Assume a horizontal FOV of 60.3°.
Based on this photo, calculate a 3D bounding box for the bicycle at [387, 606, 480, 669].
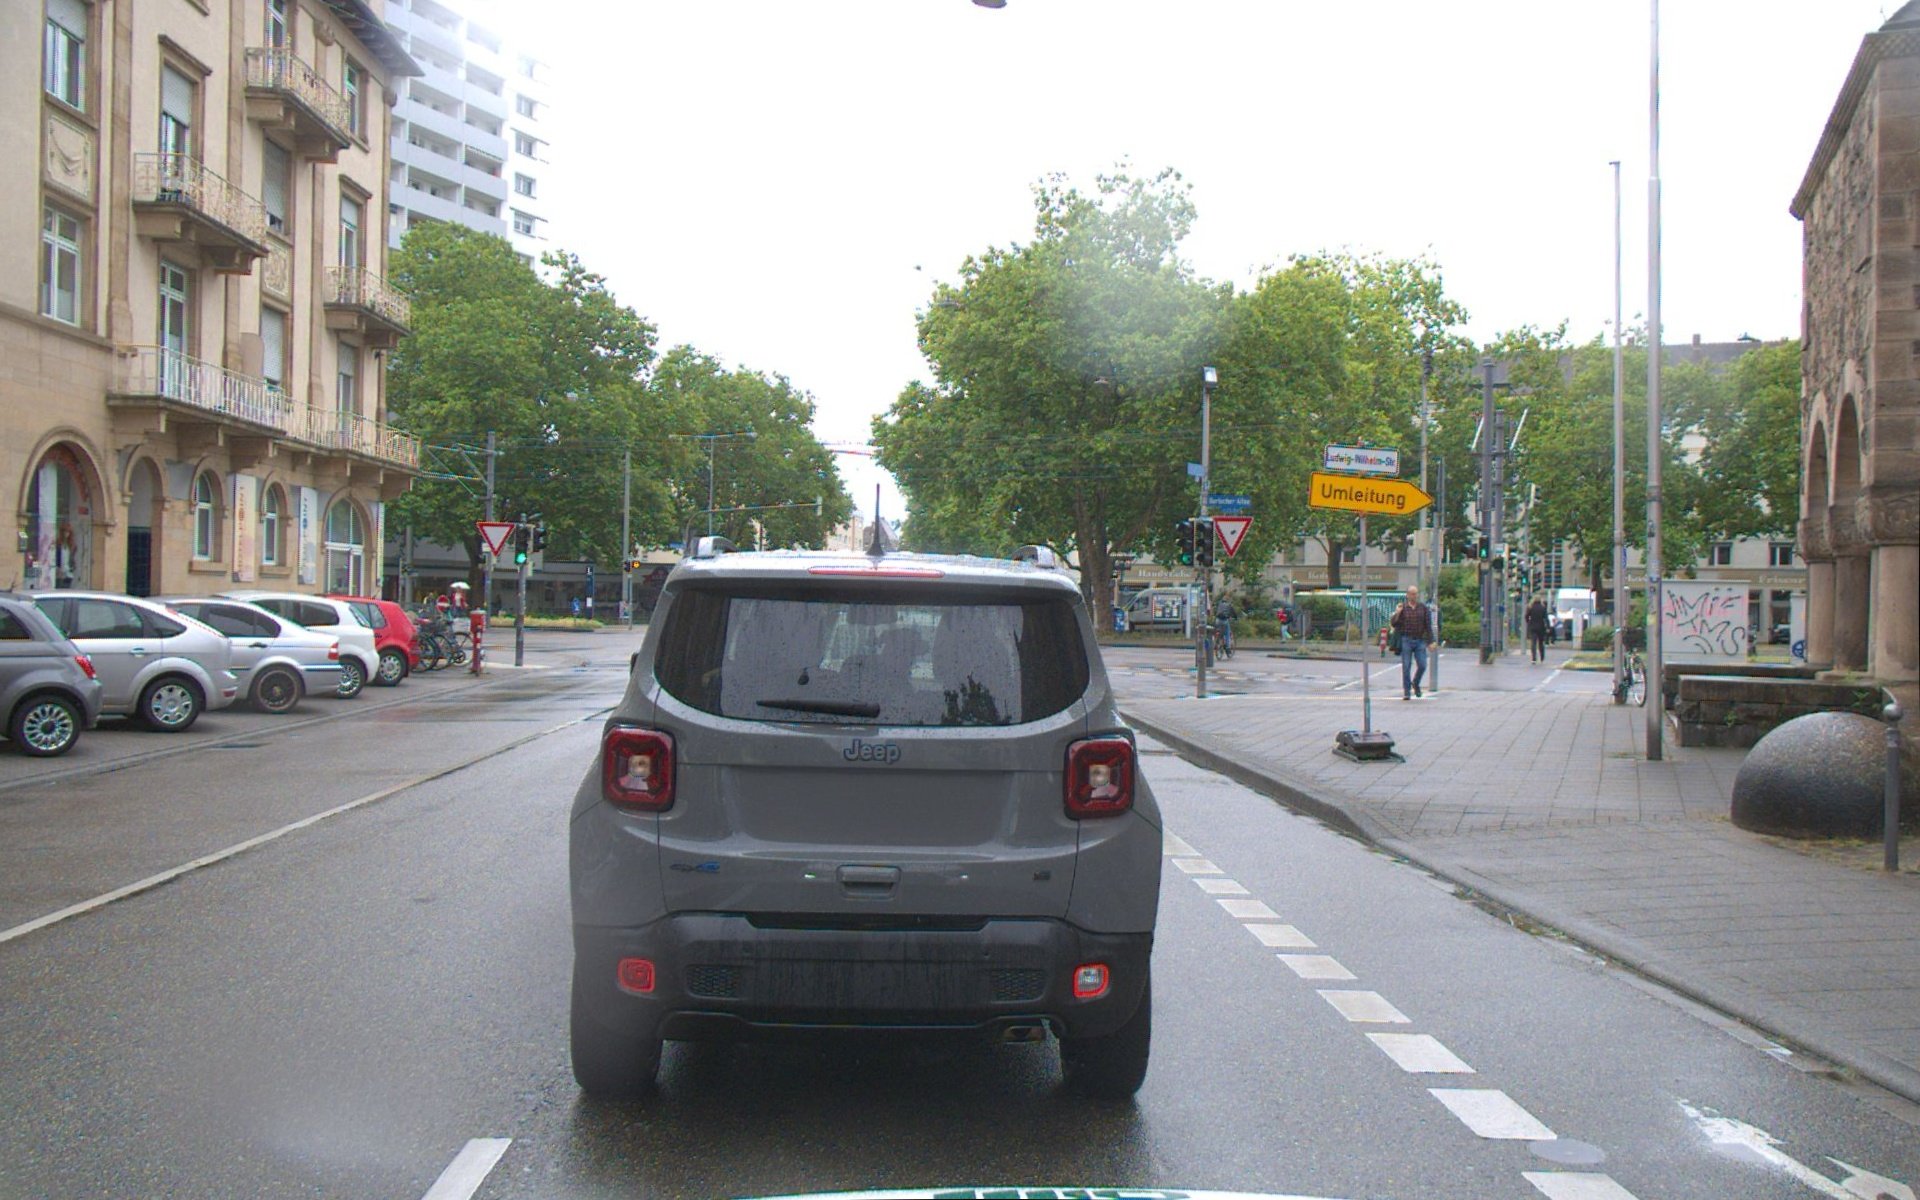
[{"bbox_3d":[-10.905,0.766,34.307,1.728,1.288,0.608,0,0,-3],"label":"bicycle"}]

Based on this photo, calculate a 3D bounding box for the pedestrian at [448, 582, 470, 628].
[{"bbox_3d":[-20.592,0.208,67.993,0.605,1.858,0.695,0,0,12],"label":"pedestrian"}]

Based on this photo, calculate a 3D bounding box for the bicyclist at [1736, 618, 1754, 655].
[{"bbox_3d":[27.581,1.290,58.139,0.511,1.272,0.653,0,0,20],"label":"bicyclist"}]

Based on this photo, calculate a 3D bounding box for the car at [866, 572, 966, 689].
[{"bbox_3d":[-0.814,0.538,31.043,1.734,2.049,3.999,1,0,-1],"label":"car"}]

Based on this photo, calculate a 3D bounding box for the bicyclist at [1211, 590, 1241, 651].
[{"bbox_3d":[7.218,0.549,44.819,0.672,1.646,0.884,0,0,19],"label":"bicyclist"}]

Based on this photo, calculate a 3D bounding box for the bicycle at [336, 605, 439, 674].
[{"bbox_3d":[-10.781,0.735,31.172,1.728,1.288,0.522,0,0,-3],"label":"bicycle"}]

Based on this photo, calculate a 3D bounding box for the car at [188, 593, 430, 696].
[{"bbox_3d":[-10.739,0.700,27.365,3.372,1.585,1.681,1,0,-41],"label":"car"}]

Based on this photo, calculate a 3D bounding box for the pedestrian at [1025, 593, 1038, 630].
[{"bbox_3d":[3.956,0.647,91.947,0.637,2.049,0.483,1,0,11],"label":"pedestrian"}]

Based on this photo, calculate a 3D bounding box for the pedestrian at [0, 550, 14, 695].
[{"bbox_3d":[-13.902,0.316,23.462,0.556,2.049,0.654,1,0,-1],"label":"pedestrian"}]

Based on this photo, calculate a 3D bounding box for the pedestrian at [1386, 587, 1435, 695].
[{"bbox_3d":[7.602,0.685,27.939,0.769,1.790,0.946,0,0,14],"label":"pedestrian"}]

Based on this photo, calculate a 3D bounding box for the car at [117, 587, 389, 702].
[{"bbox_3d":[-10.441,0.618,24.523,3.372,1.585,1.681,1,0,-41],"label":"car"}]

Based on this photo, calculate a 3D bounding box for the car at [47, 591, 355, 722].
[{"bbox_3d":[-9.921,0.694,21.713,3.372,1.585,1.681,1,0,-41],"label":"car"}]

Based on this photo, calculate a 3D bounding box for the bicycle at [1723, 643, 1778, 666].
[{"bbox_3d":[27.723,1.909,58.041,1.662,0.731,0.653,0,0,20],"label":"bicycle"}]

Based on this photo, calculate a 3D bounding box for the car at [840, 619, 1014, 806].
[{"bbox_3d":[-0.287,0.890,14.467,1.336,1.400,3.311,1,0,-1],"label":"car"}]

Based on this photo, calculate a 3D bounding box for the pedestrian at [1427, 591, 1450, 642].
[{"bbox_3d":[19.260,0.663,66.571,0.789,2.049,0.589,0,0,26],"label":"pedestrian"}]

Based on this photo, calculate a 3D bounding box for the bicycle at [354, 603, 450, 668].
[{"bbox_3d":[-11.262,0.717,33.420,1.728,1.288,0.608,0,0,-3],"label":"bicycle"}]

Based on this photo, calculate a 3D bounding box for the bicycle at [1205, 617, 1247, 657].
[{"bbox_3d":[7.228,0.989,44.862,0.677,1.039,2.659,0,0,18],"label":"bicycle"}]

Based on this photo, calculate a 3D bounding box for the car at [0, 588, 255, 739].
[{"bbox_3d":[-9.897,0.667,18.510,3.372,1.585,1.681,1,0,-41],"label":"car"}]

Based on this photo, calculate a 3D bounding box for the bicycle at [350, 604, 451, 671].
[{"bbox_3d":[-10.951,0.735,32.399,1.774,1.288,0.498,0,0,-3],"label":"bicycle"}]

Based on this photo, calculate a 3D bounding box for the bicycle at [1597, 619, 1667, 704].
[{"bbox_3d":[9.859,0.880,24.323,0.322,1.174,2.076,0,0,4],"label":"bicycle"}]

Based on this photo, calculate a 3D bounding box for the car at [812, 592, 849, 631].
[{"bbox_3d":[-6.120,0.521,77.934,1.688,1.769,3.726,1,0,-5],"label":"car"}]

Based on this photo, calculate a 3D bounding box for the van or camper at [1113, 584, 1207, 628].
[{"bbox_3d":[11.384,0.321,94.363,5.149,2.356,2.090,1,0,2],"label":"van or camper"}]

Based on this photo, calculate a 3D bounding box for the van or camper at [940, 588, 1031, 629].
[{"bbox_3d":[1.941,0.612,124.439,6.398,2.963,2.492,0,0,26],"label":"van or camper"}]

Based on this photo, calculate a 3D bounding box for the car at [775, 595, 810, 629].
[{"bbox_3d":[-8.751,0.623,86.731,1.779,1.700,3.916,1,0,-5],"label":"car"}]

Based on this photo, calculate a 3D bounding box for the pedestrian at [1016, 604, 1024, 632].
[{"bbox_3d":[3.724,1.117,102.656,0.448,1.733,0.424,1,0,-1],"label":"pedestrian"}]

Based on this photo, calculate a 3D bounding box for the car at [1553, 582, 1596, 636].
[{"bbox_3d":[31.124,0.450,83.767,1.868,2.600,4.786,0,0,22],"label":"car"}]

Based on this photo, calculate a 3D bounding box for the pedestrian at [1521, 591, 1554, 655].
[{"bbox_3d":[15.242,0.600,43.643,0.767,1.674,0.655,0,0,23],"label":"pedestrian"}]

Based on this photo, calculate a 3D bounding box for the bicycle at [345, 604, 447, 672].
[{"bbox_3d":[-10.809,0.727,31.718,1.774,1.288,0.498,0,0,-3],"label":"bicycle"}]

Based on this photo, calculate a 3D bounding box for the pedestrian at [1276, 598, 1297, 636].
[{"bbox_3d":[13.627,0.720,69.093,0.660,1.581,0.761,0,-2,27],"label":"pedestrian"}]

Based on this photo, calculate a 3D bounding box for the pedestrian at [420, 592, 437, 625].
[{"bbox_3d":[-25.310,0.425,78.720,0.433,1.556,0.643,0,0,24],"label":"pedestrian"}]

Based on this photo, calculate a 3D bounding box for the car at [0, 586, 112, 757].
[{"bbox_3d":[-9.955,0.647,15.431,3.372,1.585,1.628,1,0,-41],"label":"car"}]

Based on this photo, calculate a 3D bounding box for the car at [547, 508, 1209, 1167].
[{"bbox_3d":[-0.275,0.617,6.288,1.739,1.716,3.846,0,0,-2],"label":"car"}]

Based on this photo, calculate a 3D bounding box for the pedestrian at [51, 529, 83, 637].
[{"bbox_3d":[-15.405,-0.285,28.532,0.359,1.854,0.347,0,-1,-4],"label":"pedestrian"}]
